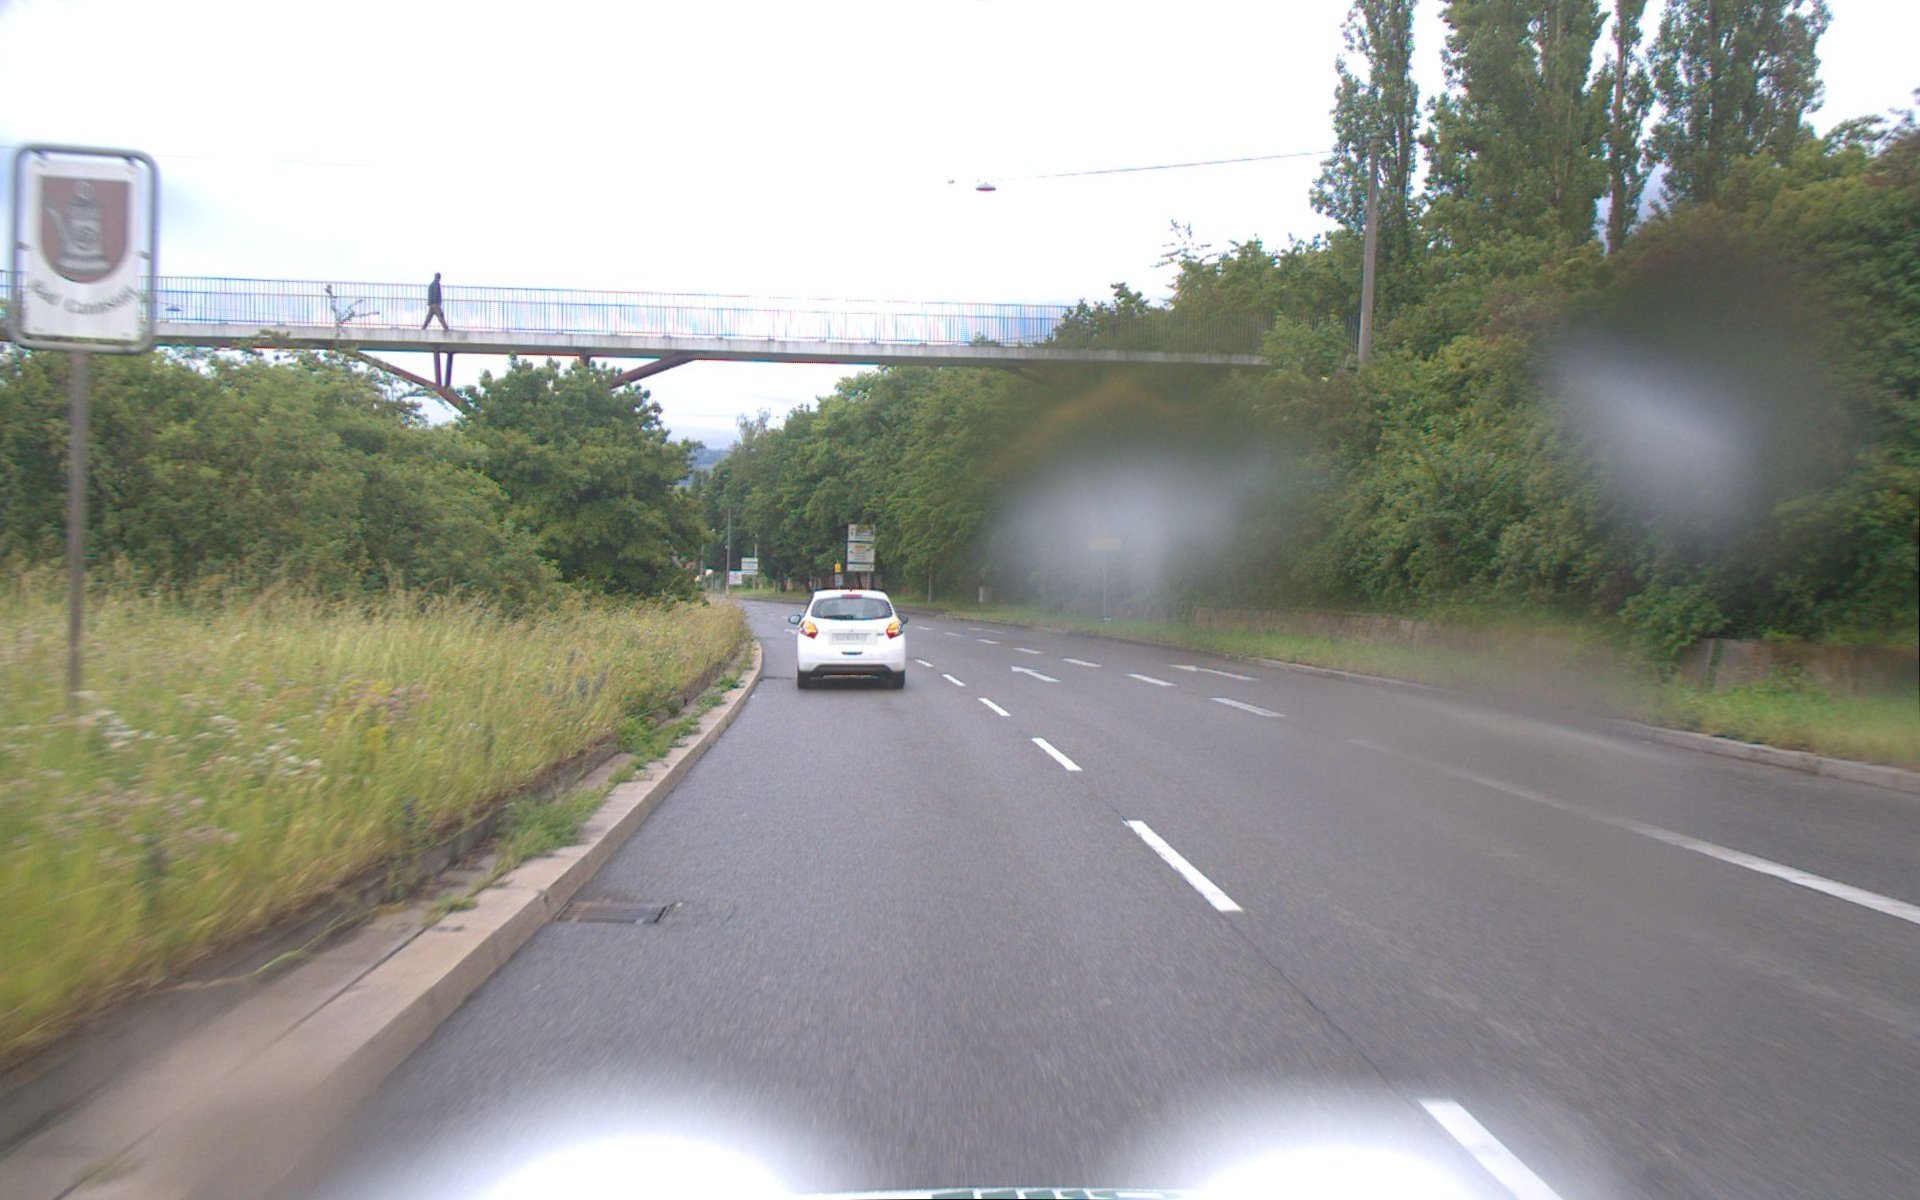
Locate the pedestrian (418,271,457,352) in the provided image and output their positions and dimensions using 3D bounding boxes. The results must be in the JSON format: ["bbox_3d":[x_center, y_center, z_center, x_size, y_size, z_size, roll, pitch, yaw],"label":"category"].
[{"bbox_3d":[-14.829,-8.188,46.946,0.898,2.181,0.730,-2,0,-10],"label":"pedestrian"}]

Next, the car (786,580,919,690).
[{"bbox_3d":[-1.775,0.497,26.258,1.833,1.537,3.893,1,1,-7],"label":"car"}]
